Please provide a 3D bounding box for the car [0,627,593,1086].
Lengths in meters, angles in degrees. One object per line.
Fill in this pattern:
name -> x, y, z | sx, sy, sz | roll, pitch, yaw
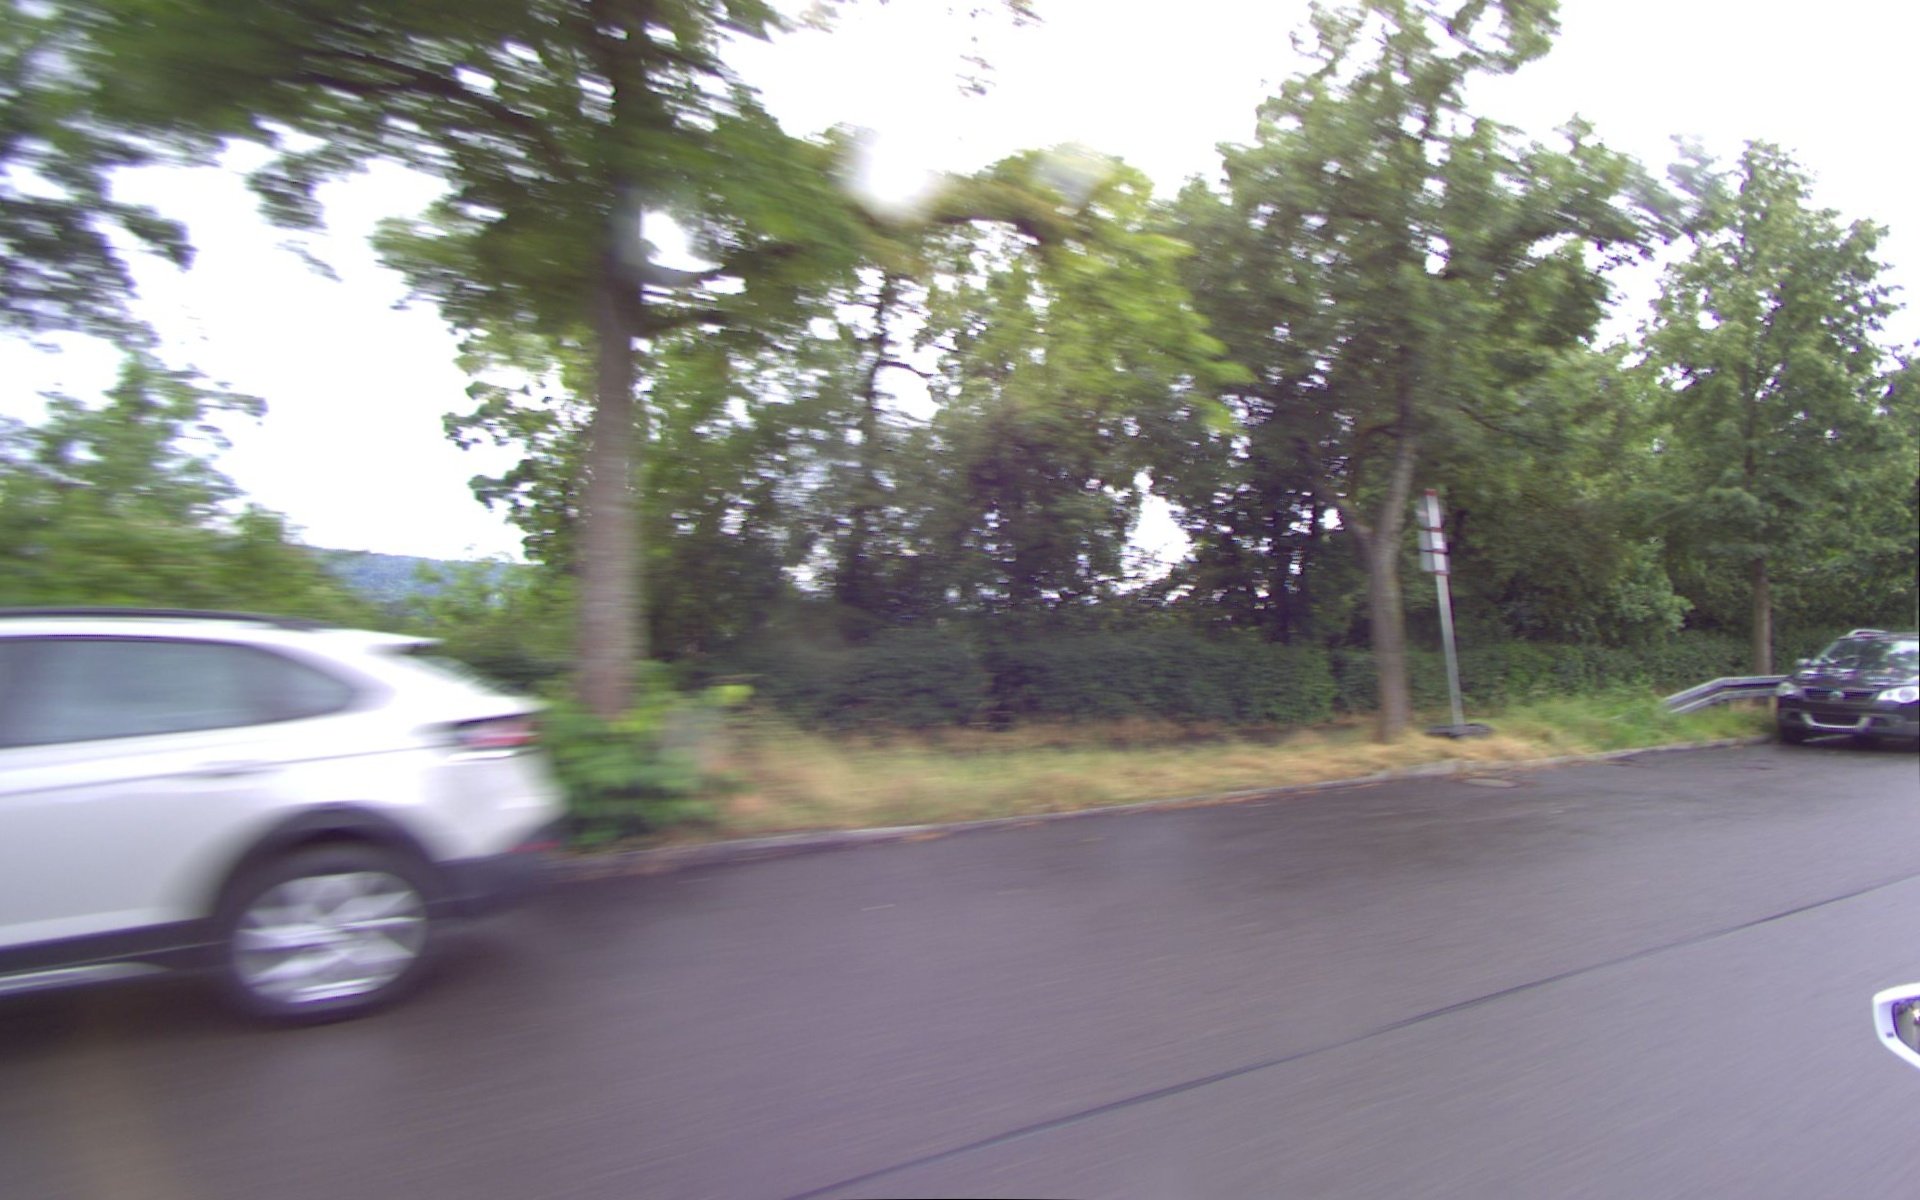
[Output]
car -> -3.724, 0.830, 3.798 | 4.203, 1.456, 1.682 | 2, -2, -28

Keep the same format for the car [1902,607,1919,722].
car -> 18.056, 1.080, 16.646 | 5.316, 1.843, 2.075 | 2, -2, -29

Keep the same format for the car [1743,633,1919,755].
car -> 12.839, 1.209, 13.883 | 4.207, 1.456, 1.789 | 2, -2, -31
